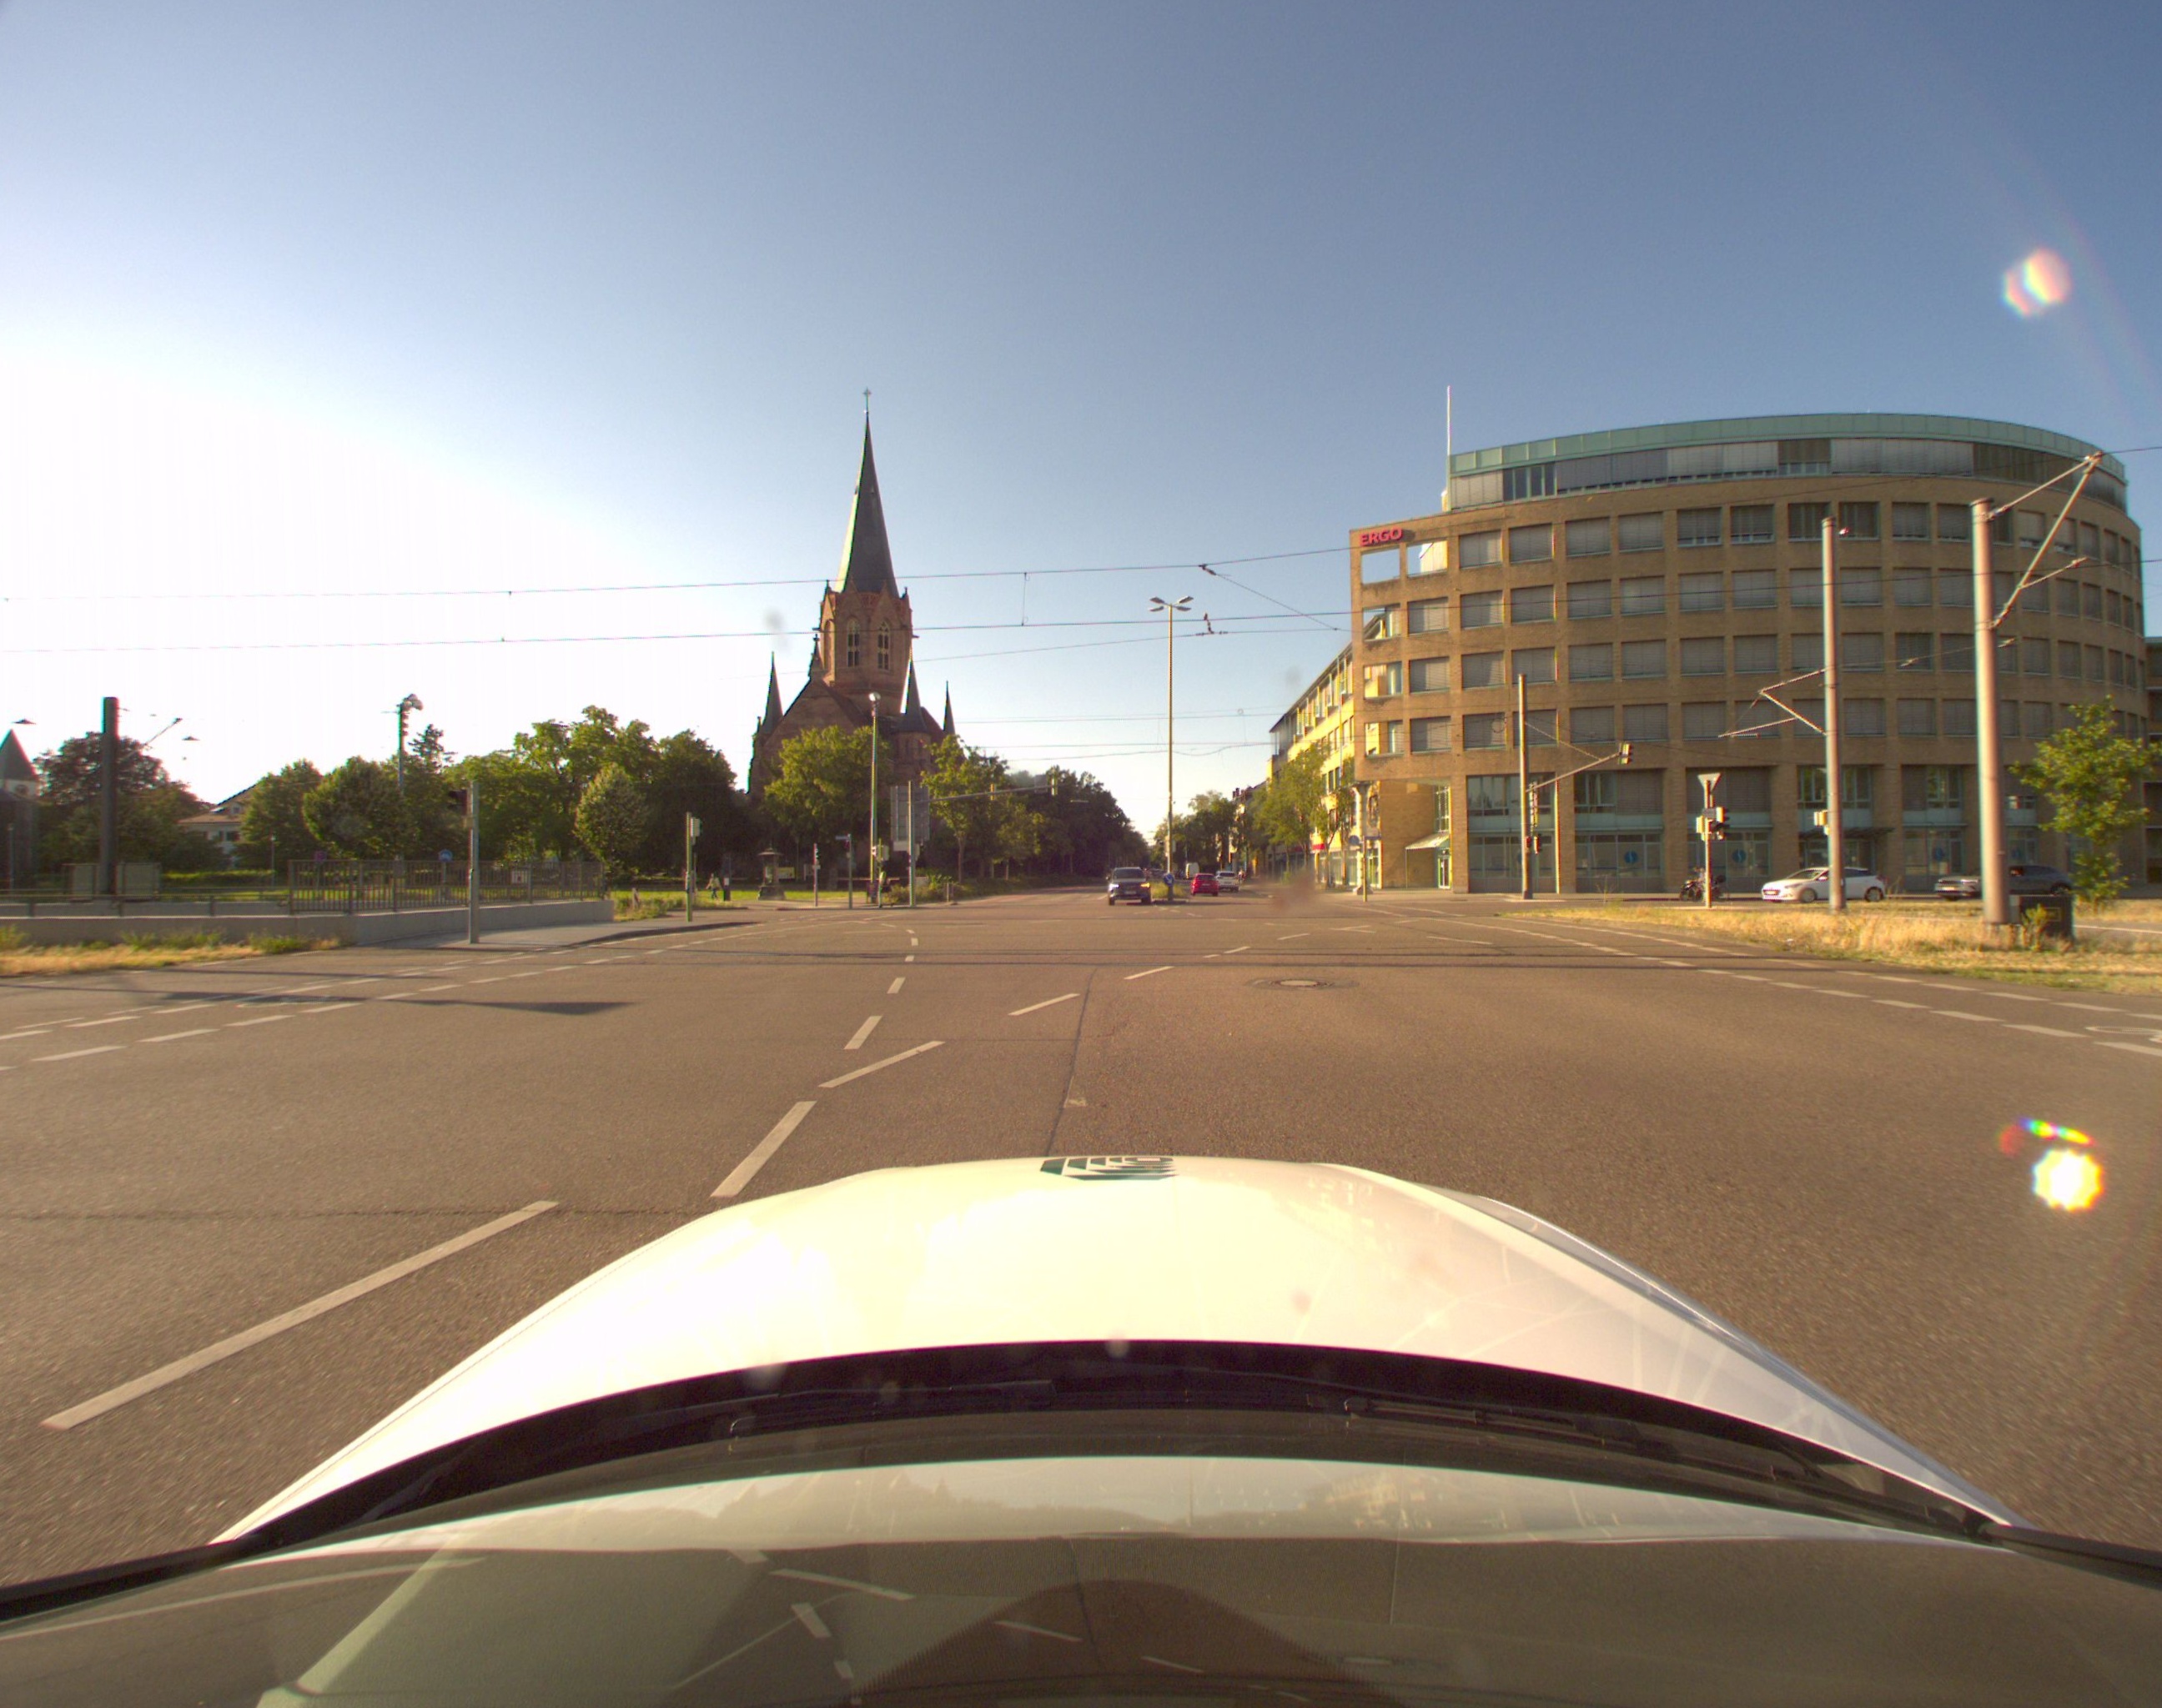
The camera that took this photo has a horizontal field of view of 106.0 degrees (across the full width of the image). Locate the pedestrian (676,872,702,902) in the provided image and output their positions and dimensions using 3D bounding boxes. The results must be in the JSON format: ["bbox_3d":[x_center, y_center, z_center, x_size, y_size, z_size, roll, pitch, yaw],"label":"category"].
[{"bbox_3d":[-22.420,1.868,46.608,1.004,1.696,0.849,0,-1,27],"label":"pedestrian"}]

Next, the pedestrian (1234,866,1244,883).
[{"bbox_3d":[18.761,2.468,96.719,1.102,1.976,1.163,-1,-1,5],"label":"pedestrian"}]

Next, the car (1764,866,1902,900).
[{"bbox_3d":[35.262,1.351,38.297,4.459,1.537,1.989,-1,-1,6],"label":"car"}]

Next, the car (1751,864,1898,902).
[{"bbox_3d":[30.536,1.180,33.578,4.145,1.492,1.996,-1,-1,3],"label":"car"}]

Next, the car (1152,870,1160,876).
[{"bbox_3d":[16.671,4.282,180.696,1.587,1.267,3.271,-1,-1,6],"label":"car"}]

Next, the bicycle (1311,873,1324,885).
[{"bbox_3d":[19.711,2.104,67.901,0.643,0.995,2.083,-1,-1,5],"label":"bicycle"}]

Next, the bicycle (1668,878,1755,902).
[{"bbox_3d":[28.211,1.619,36.502,2.947,1.000,1.155,-1,-1,3],"label":"bicycle"}]

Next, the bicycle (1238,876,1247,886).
[{"bbox_3d":[15.490,2.582,78.186,0.589,0.943,1.981,1,0,6],"label":"bicycle"}]

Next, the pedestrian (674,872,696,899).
[{"bbox_3d":[-25.512,2.013,52.506,1.014,1.696,0.841,1,-1,-10],"label":"pedestrian"}]

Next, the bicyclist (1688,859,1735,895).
[{"bbox_3d":[28.250,1.016,36.503,1.217,1.572,1.155,-1,-1,3],"label":"bicyclist"}]

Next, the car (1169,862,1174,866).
[{"bbox_3d":[26.502,2.973,238.823,1.587,1.267,3.271,-1,-1,6],"label":"car"}]

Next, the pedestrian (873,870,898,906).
[{"bbox_3d":[-9.570,1.664,39.912,0.960,1.739,0.813,-1,-2,6],"label":"pedestrian"}]

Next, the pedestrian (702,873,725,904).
[{"bbox_3d":[-20.400,1.903,45.248,0.885,1.696,0.714,0,-1,25],"label":"pedestrian"}]

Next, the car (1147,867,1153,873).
[{"bbox_3d":[19.916,4.498,235.105,1.877,1.671,4.006,1,-1,6],"label":"car"}]

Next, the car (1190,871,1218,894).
[{"bbox_3d":[8.128,1.865,54.124,1.661,1.462,4.006,1,-1,6],"label":"car"}]

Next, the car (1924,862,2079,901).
[{"bbox_3d":[37.327,1.110,33.104,4.033,1.492,1.822,-1,-1,4],"label":"car"}]

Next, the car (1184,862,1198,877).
[{"bbox_3d":[17.269,2.440,128.136,1.984,2.441,4.006,1,-1,6],"label":"car"}]

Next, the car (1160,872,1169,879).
[{"bbox_3d":[15.210,3.906,148.359,1.587,1.267,3.271,-1,-1,6],"label":"car"}]

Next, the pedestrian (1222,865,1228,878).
[{"bbox_3d":[20.145,2.492,114.051,0.843,1.803,0.777,-1,-1,5],"label":"pedestrian"}]

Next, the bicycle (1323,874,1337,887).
[{"bbox_3d":[19.373,2.025,63.331,0.643,0.995,2.083,-1,-1,5],"label":"bicycle"}]

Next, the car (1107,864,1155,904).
[{"bbox_3d":[2.301,1.426,38.915,1.987,1.724,5.030,-1,-2,0],"label":"car"}]

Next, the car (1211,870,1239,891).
[{"bbox_3d":[11.537,2.086,65.451,1.907,1.607,4.276,1,-1,6],"label":"car"}]

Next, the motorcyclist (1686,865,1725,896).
[{"bbox_3d":[29.668,1.261,38.708,1.060,1.435,1.033,-1,-1,4],"label":"motorcyclist"}]

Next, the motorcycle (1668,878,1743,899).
[{"bbox_3d":[29.656,1.634,38.699,2.705,0.964,1.033,-1,-1,4],"label":"motorcycle"}]

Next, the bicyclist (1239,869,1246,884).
[{"bbox_3d":[15.494,2.138,78.174,0.589,1.369,0.931,1,0,6],"label":"bicyclist"}]
